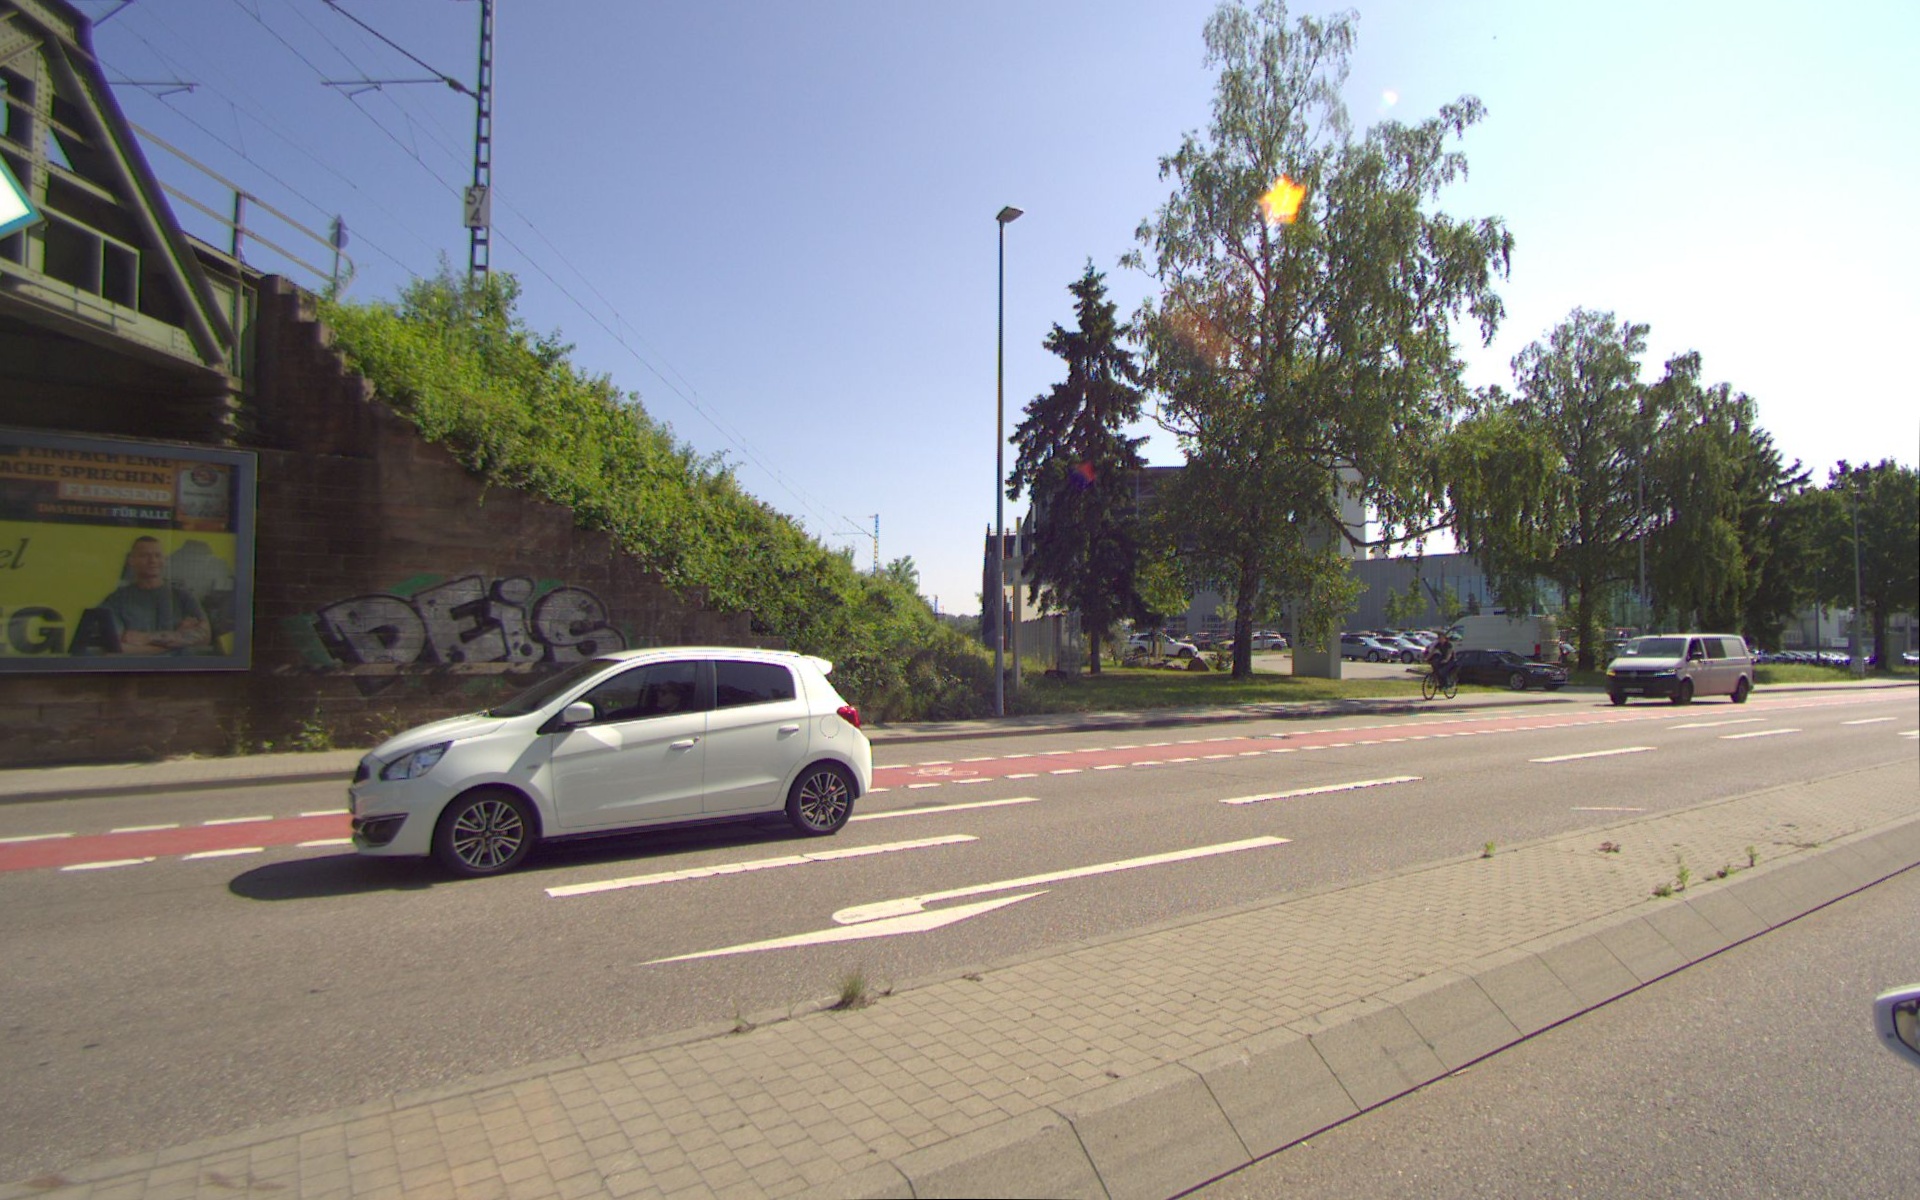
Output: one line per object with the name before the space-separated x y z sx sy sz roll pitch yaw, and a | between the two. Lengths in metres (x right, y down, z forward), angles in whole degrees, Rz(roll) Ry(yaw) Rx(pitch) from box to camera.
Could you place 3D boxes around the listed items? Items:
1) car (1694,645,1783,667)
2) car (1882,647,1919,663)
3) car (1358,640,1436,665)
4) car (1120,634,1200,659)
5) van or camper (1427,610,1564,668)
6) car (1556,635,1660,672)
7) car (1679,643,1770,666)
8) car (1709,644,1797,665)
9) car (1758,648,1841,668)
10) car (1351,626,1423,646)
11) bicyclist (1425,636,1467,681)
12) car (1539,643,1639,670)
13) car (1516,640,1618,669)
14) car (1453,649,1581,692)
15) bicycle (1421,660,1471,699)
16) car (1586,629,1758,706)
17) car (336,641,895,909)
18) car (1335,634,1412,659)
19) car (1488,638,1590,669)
car | 51.233 3.646 66.185 1.932 1.368 4.244 2 -3 -31
car | 84.585 4.896 88.943 1.904 1.394 3.964 2 -3 -34
car | 26.476 3.157 60.924 1.725 1.457 4.064 2 -3 -33
car | 12.243 2.849 61.647 4.460 1.461 2.000 0 -2 -1
van or camper | 24.863 1.742 46.859 1.981 2.504 5.341 0 0 -36
car | 34.462 2.819 53.535 1.932 1.909 4.244 2 -3 -31
car | 49.210 3.493 64.716 1.932 1.368 4.244 2 -3 -31
car | 53.341 3.664 67.619 1.932 1.368 4.244 2 -3 -31
car | 61.498 4.238 73.643 1.932 1.368 4.244 2 -3 -31
car | 29.363 2.501 69.215 1.933 1.368 4.242 2 -3 -33
bicyclist | 13.629 1.631 28.186 0.939 1.243 0.631 1 -3 -30
car | 32.477 2.894 51.998 1.724 1.310 4.066 2 -3 -31
car | 30.347 2.699 50.337 1.722 1.372 4.071 2 -3 -28
car | 20.163 2.524 36.610 1.961 1.432 4.681 0 -3 -2
bicycle | 13.662 2.231 28.237 1.596 1.041 0.444 1 -3 -30
car | 20.530 1.898 28.909 5.283 2.040 1.985 1 -3 -30
car | -2.553 1.134 7.764 3.791 1.514 1.632 0 -3 -35
car | 24.354 2.746 59.264 1.722 1.372 4.071 2 -3 -28
car | 28.287 2.581 49.213 1.722 1.457 4.071 1 -3 -28
